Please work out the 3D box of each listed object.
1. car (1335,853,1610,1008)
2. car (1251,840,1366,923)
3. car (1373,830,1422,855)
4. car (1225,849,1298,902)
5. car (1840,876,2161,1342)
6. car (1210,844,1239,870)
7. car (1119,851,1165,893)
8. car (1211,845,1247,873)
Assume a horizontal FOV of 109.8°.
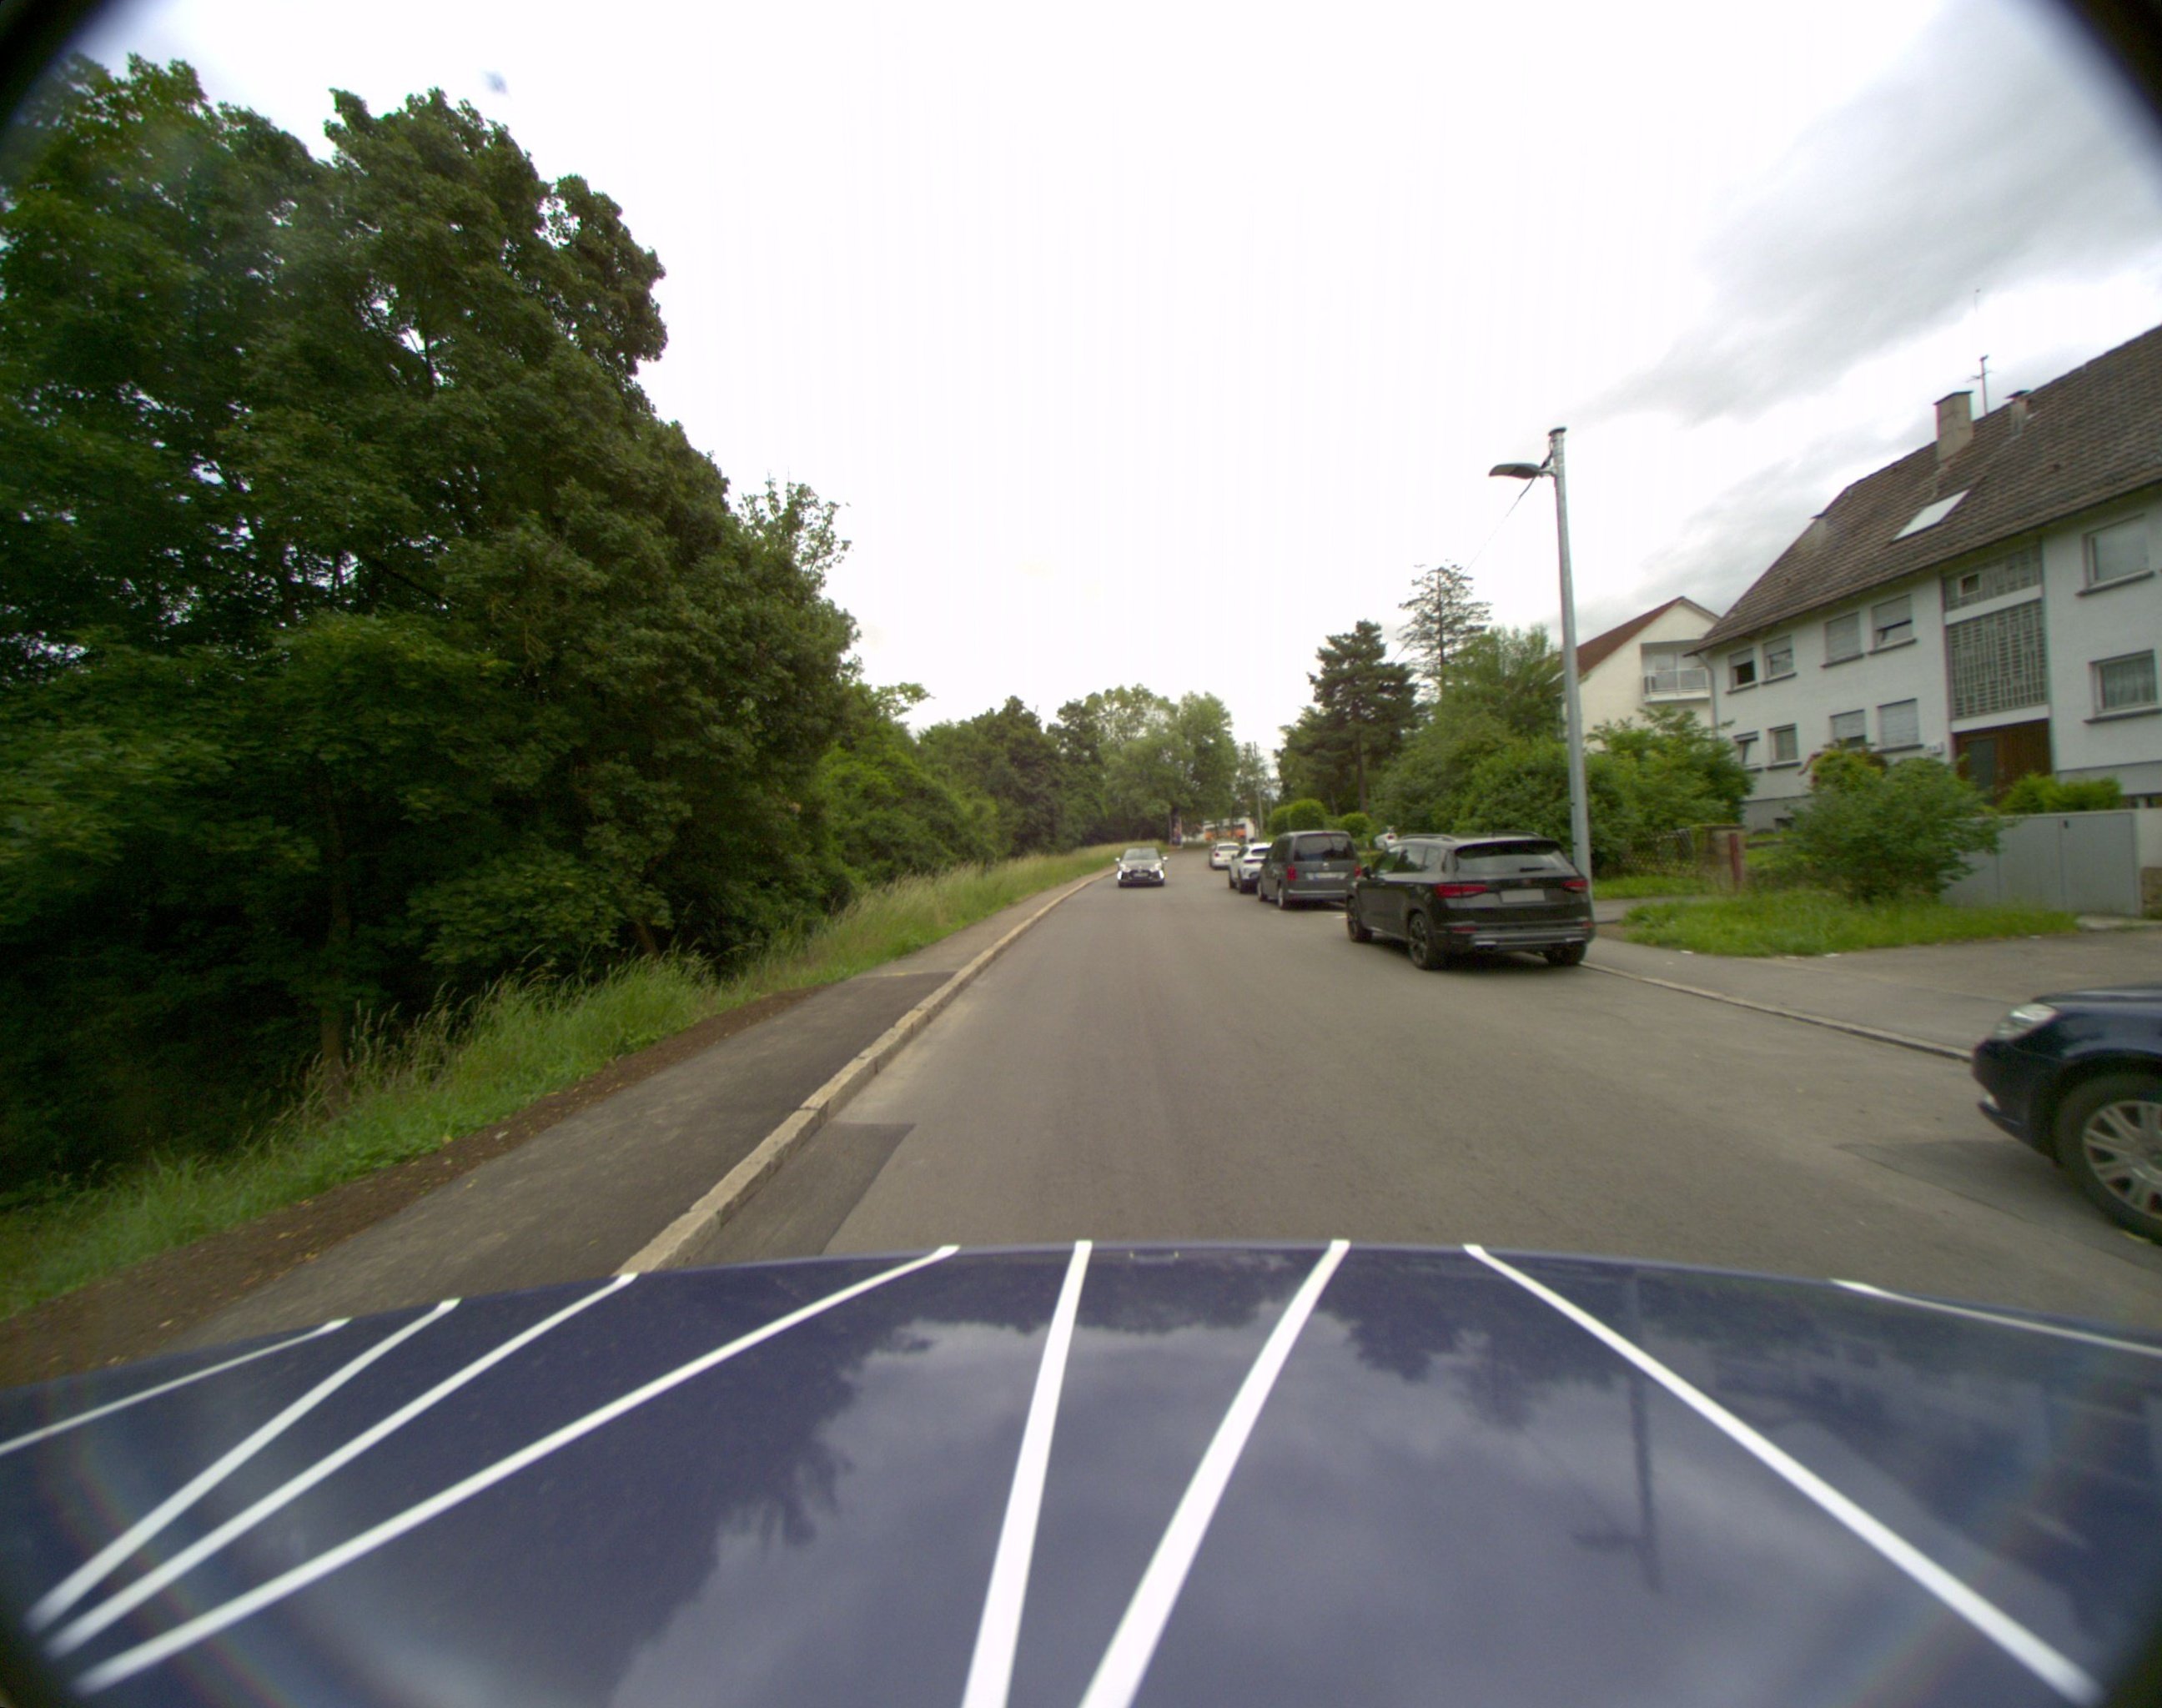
[{"bbox_3d":[4.749,0.795,9.941,1.665,1.572,4.078,-1,1,3],"label":"car"},{"bbox_3d":[5.383,0.582,18.503,1.800,1.790,4.065,-1,1,4],"label":"car"},{"bbox_3d":[17.278,-0.619,41.602,1.649,1.324,3.906,0,1,10],"label":"car"},{"bbox_3d":[5.569,0.618,23.841,1.665,1.496,4.046,-1,1,5],"label":"car"},{"bbox_3d":[4.574,0.868,1.283,1.731,1.564,4.815,0,-1,-1],"label":"car"},{"bbox_3d":[8.697,0.146,46.290,1.604,1.521,3.590,0,1,9],"label":"car"},{"bbox_3d":[2.395,0.638,29.212,1.619,1.460,4.002,0,1,6],"label":"car"},{"bbox_3d":[8.142,0.255,42.014,1.735,1.420,3.459,-1,0,8],"label":"car"}]
